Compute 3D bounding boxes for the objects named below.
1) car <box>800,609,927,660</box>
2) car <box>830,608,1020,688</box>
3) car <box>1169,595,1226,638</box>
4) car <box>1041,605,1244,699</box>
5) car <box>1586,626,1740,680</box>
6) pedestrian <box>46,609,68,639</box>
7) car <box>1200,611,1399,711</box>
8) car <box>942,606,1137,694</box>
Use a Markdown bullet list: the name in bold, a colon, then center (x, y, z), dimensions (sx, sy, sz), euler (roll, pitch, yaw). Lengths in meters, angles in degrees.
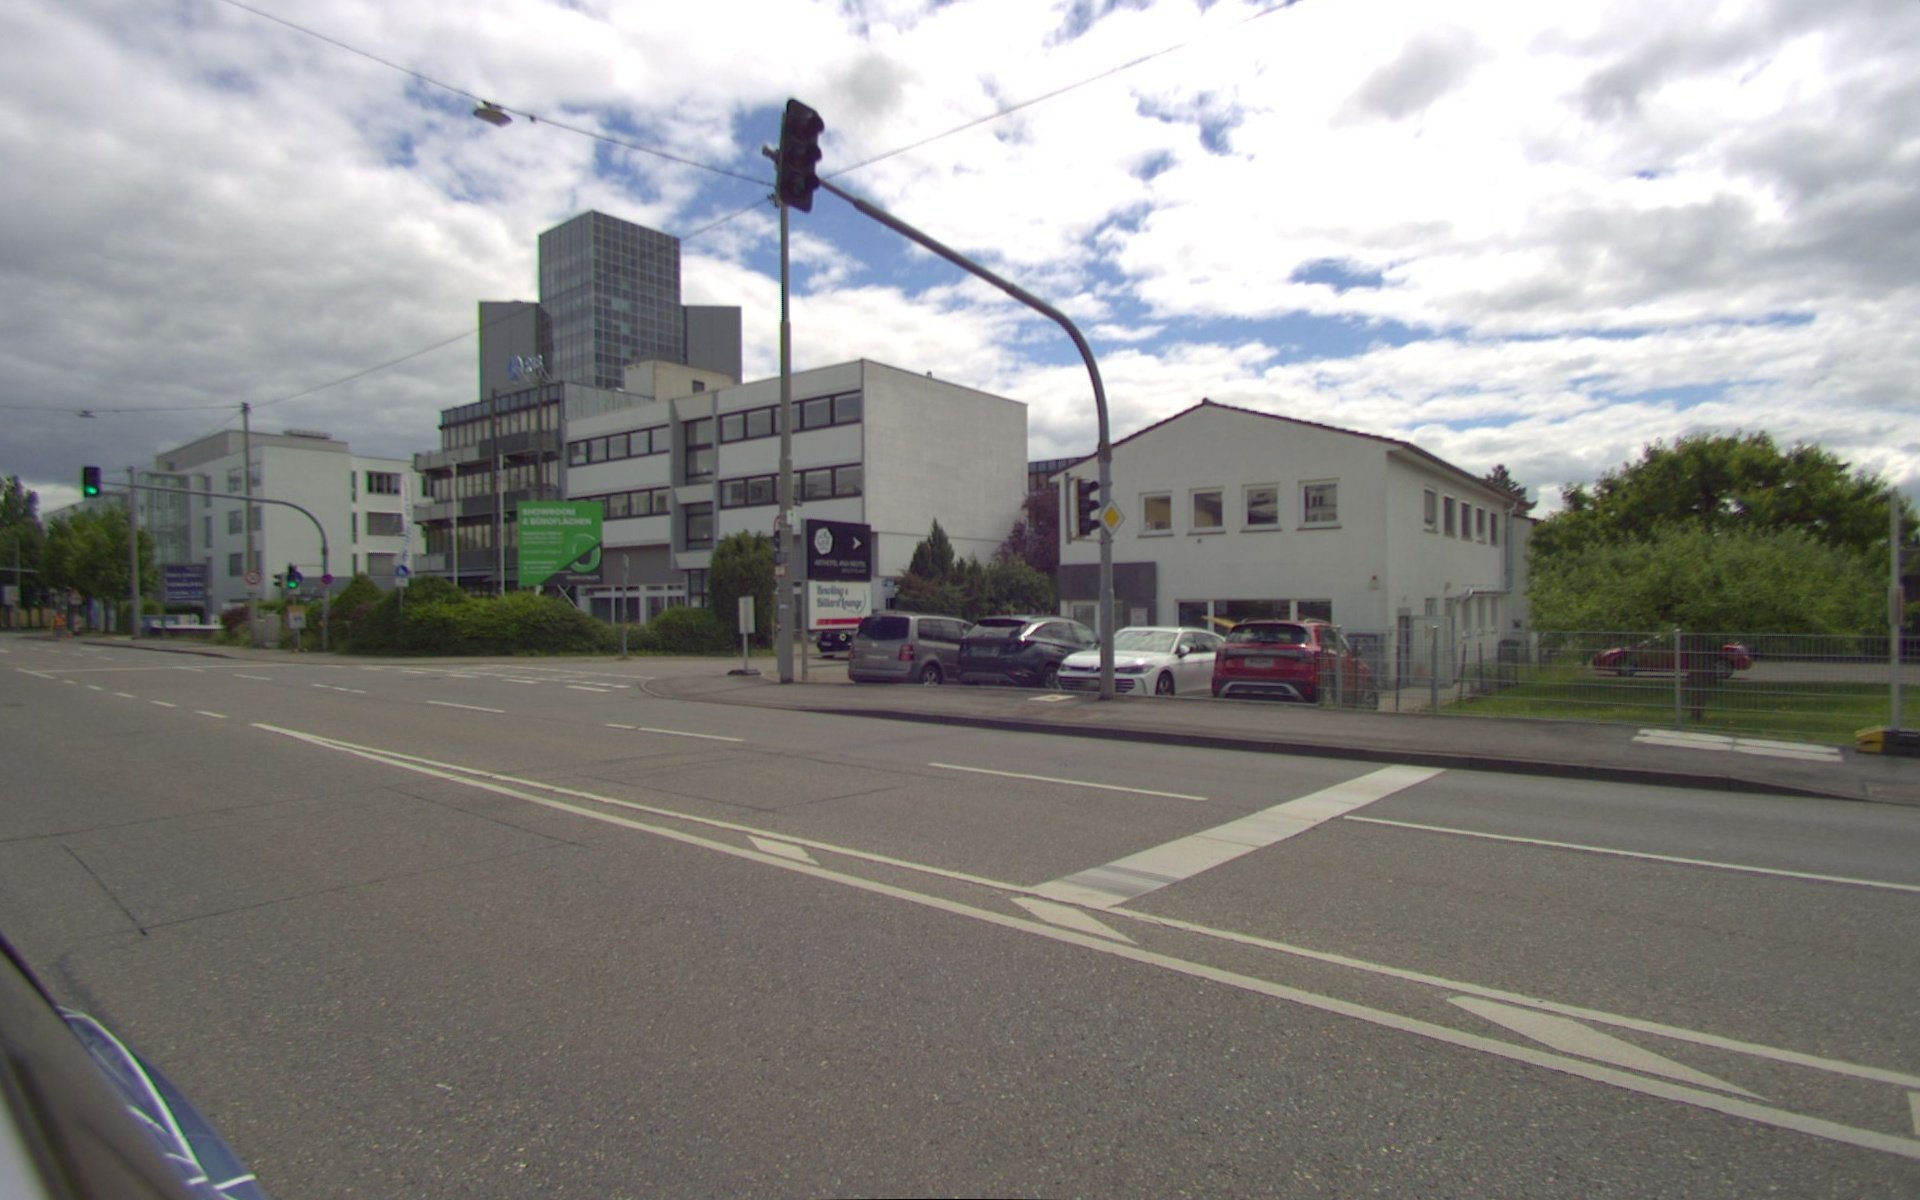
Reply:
- **car**: center (-3.761, 1.391, 40.022), dimensions (2.170, 1.806, 4.703), euler (2, -1, 42)
- **car**: center (-0.604, 1.052, 20.863), dimensions (1.903, 1.409, 4.059), euler (-2, -6, 33)
- **car**: center (15.851, 1.058, 67.516), dimensions (2.101, 2.626, 4.358), euler (0, 2, 37)
- **car**: center (3.367, 0.979, 17.996), dimensions (1.980, 1.398, 4.187), euler (0, -5, 35)
- **car**: center (23.571, 1.730, 34.093), dimensions (4.164, 1.554, 1.828), euler (0, 2, 34)
- **pedestrian**: center (-63.095, 1.638, 70.726), dimensions (0.715, 2.028, 0.812), euler (-2, 2, -7)
- **car**: center (5.645, 1.042, 16.523), dimensions (1.846, 1.380, 3.948), euler (0, -5, 38)
- **car**: center (1.649, 1.018, 19.661), dimensions (1.853, 1.435, 3.948), euler (0, -5, 38)
